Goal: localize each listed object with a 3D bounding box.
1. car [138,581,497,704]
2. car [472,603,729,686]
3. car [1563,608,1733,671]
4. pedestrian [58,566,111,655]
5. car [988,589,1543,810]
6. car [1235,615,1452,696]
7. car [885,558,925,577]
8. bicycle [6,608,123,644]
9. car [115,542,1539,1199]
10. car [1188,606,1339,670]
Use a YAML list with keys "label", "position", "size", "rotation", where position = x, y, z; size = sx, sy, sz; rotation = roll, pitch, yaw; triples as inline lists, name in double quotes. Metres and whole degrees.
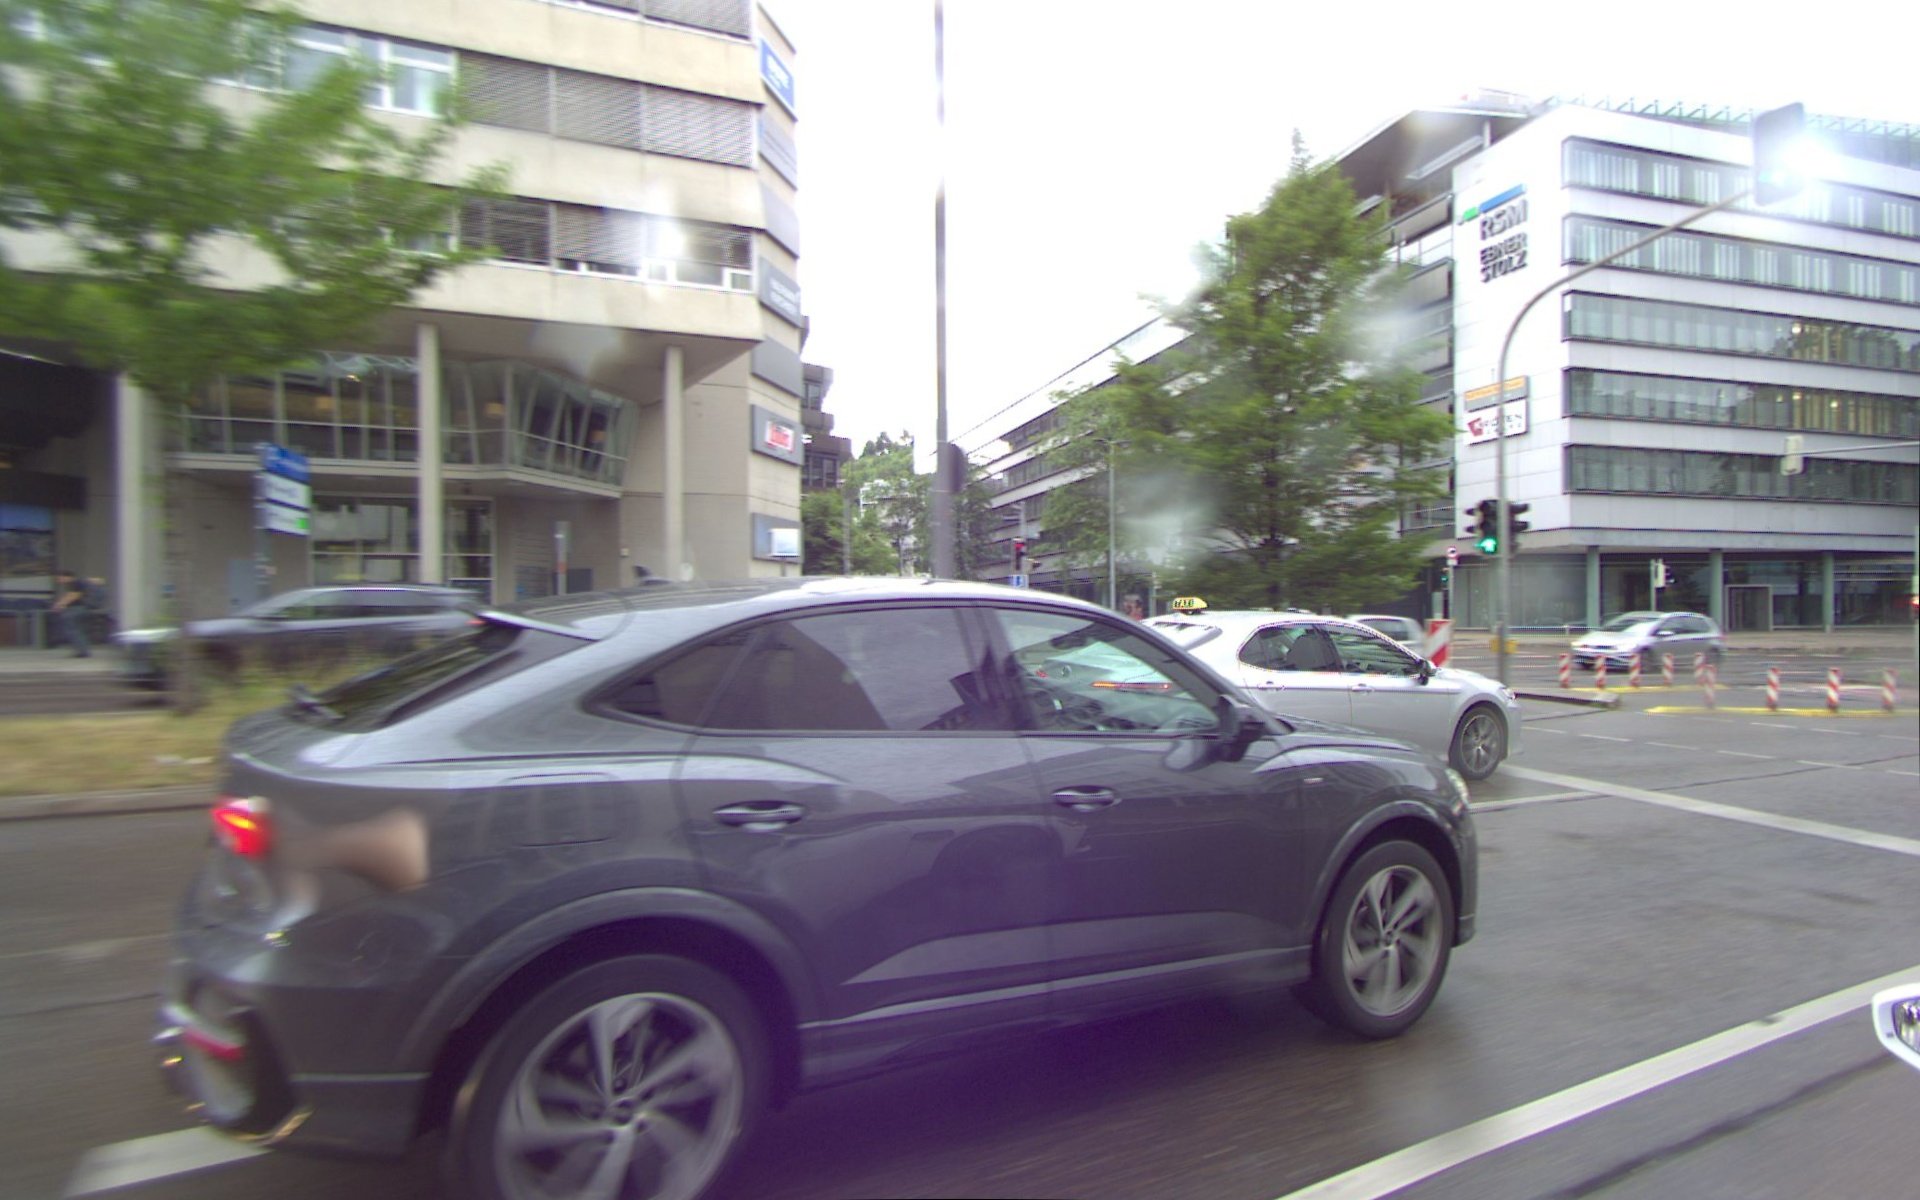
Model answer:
- label: "car"
  position: [-8.961, 0.573, 14.408]
  size: [4.102, 1.556, 1.636]
  rotation: [1, 0, -29]
- label: "car"
  position: [-6.833, 0.845, 19.200]
  size: [4.360, 1.397, 1.853]
  rotation: [2, 0, -30]
- label: "car"
  position: [18.714, 1.079, 27.342]
  size: [4.019, 1.602, 1.643]
  rotation: [1, 0, -16]
- label: "pedestrian"
  position: [-17.220, 0.211, 19.754]
  size: [0.758, 1.706, 0.671]
  rotation: [1, 0, -42]
- label: "car"
  position: [2.771, 0.744, 8.939]
  size: [4.713, 1.554, 1.859]
  rotation: [1, 0, -26]
- label: "car"
  position: [7.418, 1.077, 19.429]
  size: [3.814, 1.403, 1.686]
  rotation: [2, 0, -24]
- label: "car"
  position: [-6.081, -3.593, 111.254]
  size: [3.939, 1.808, 1.900]
  rotation: [2, 0, -20]
- label: "bicycle"
  position: [-22.777, 0.670, 25.612]
  size: [2.172, 0.871, 0.455]
  rotation: [2, 0, -39]
- label: "car"
  position: [-0.013, 0.707, 3.489]
  size: [4.222, 1.542, 1.640]
  rotation: [1, 0, -31]
- label: "car"
  position: [8.223, 1.024, 27.240]
  size: [3.663, 1.592, 1.636]
  rotation: [2, 0, -21]
